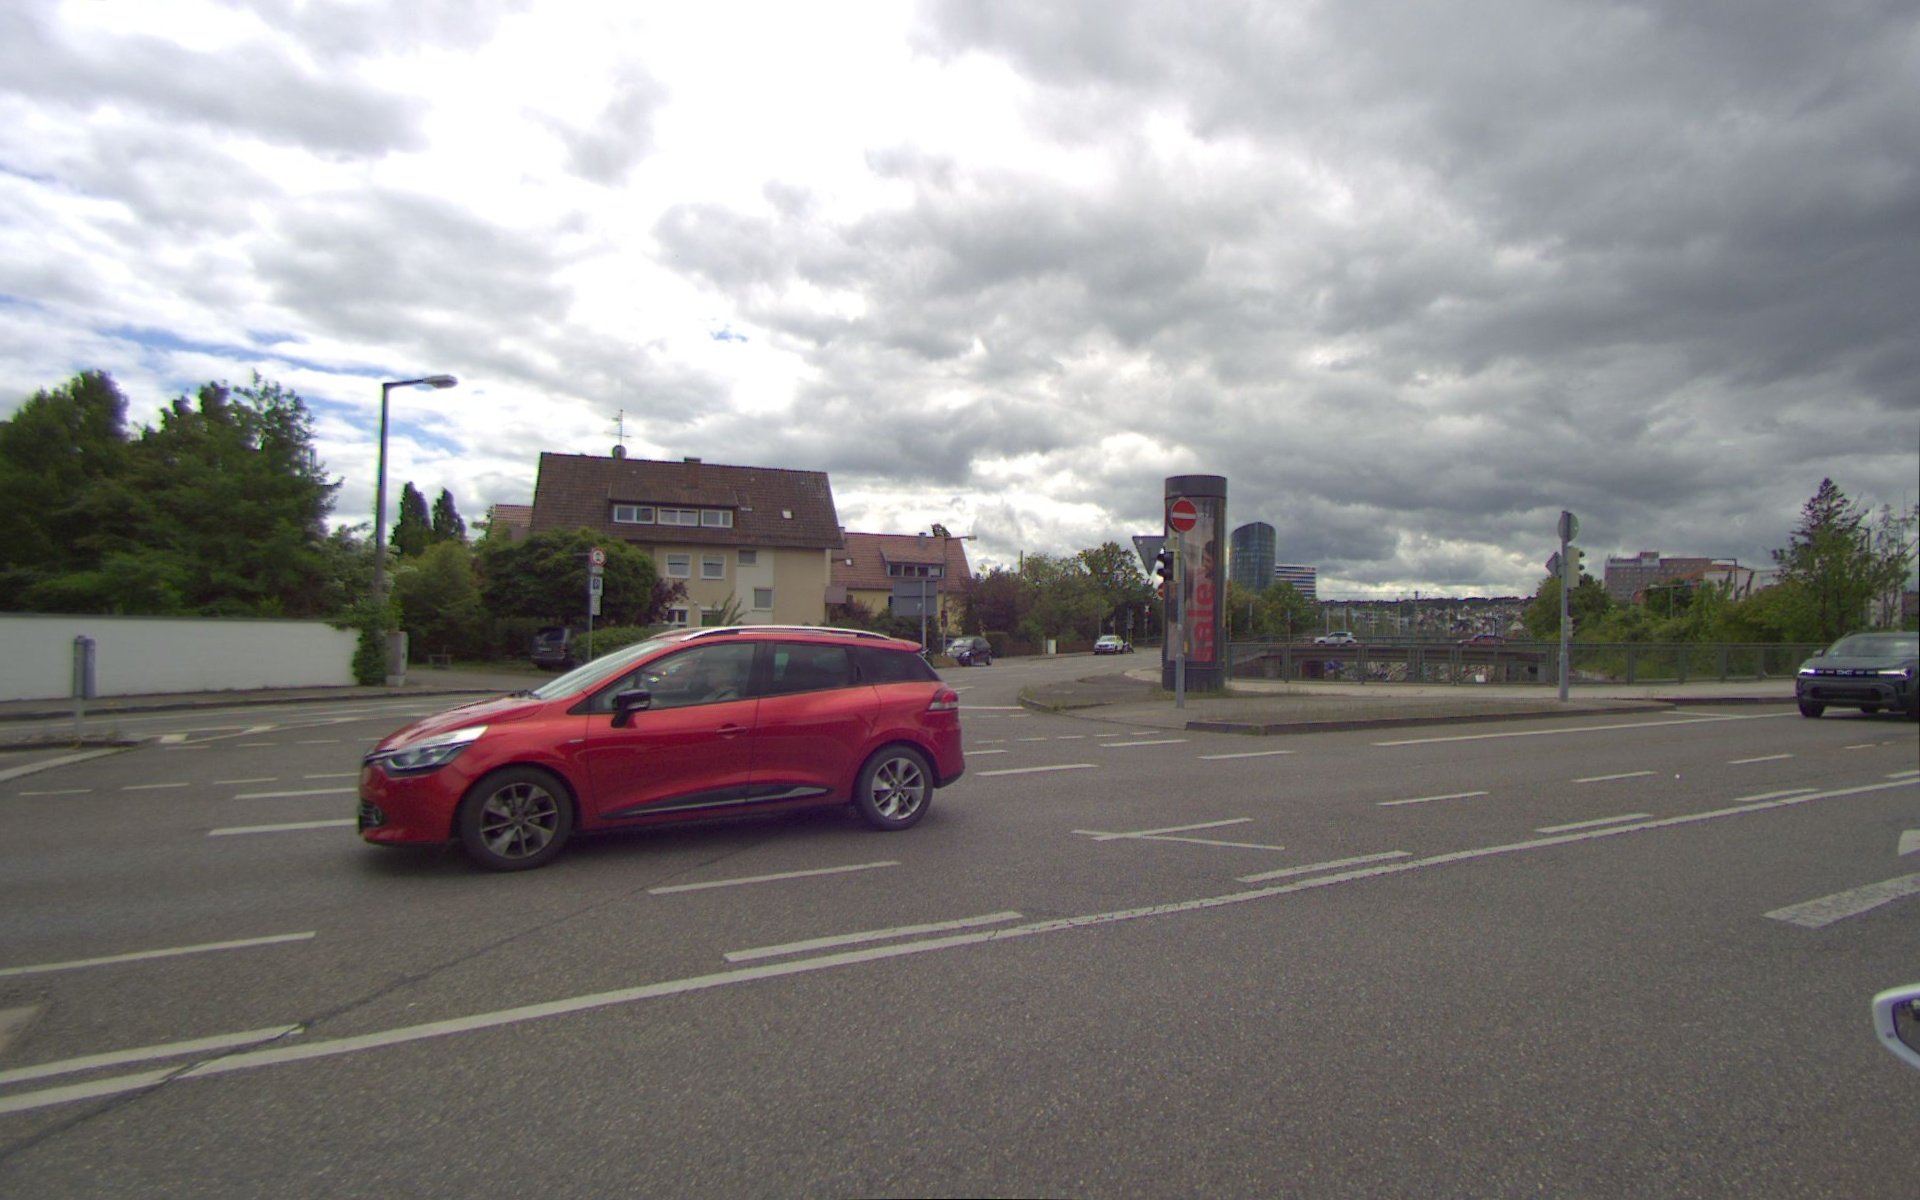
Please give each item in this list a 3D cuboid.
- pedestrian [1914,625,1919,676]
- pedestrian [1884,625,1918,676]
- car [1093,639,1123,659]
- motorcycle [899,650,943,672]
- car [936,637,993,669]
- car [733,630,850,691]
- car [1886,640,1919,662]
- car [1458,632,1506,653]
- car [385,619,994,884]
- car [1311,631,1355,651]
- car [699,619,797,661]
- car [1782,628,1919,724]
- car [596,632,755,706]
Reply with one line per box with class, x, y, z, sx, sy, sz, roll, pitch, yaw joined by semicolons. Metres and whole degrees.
pedestrian;31.378;1.640;32.423;1.060;1.655;0.651;2;0;-36
pedestrian;30.955;1.655;33.051;0.825;1.655;0.651;1;0;-35
car;12.966;4.268;87.721;1.862;1.628;4.378;0;-2;18
motorcycle;-1.923;2.976;49.201;2.084;1.012;0.702;1;-6;-11
car;0.315;2.910;55.934;1.960;1.628;4.378;0;-2;18
car;-4.559;1.675;27.797;1.614;1.555;4.133;-1;-4;16
car;70.288;3.740;73.309;3.923;1.574;1.801;1;-2;-4
car;48.890;3.997;94.114;3.927;1.684;1.796;2;1;29
car;-1.882;0.924;7.390;4.021;1.467;1.712;2;-3;-32
car;36.670;4.020;98.817;3.922;1.685;1.735;3;2;21
car;-9.570;1.786;45.353;3.921;1.602;1.786;2;1;19
car;17.745;1.392;19.234;4.231;1.648;1.813;2;-3;-32
car;-6.077;1.487;21.907;1.739;1.465;3.706;-1;-3;14
